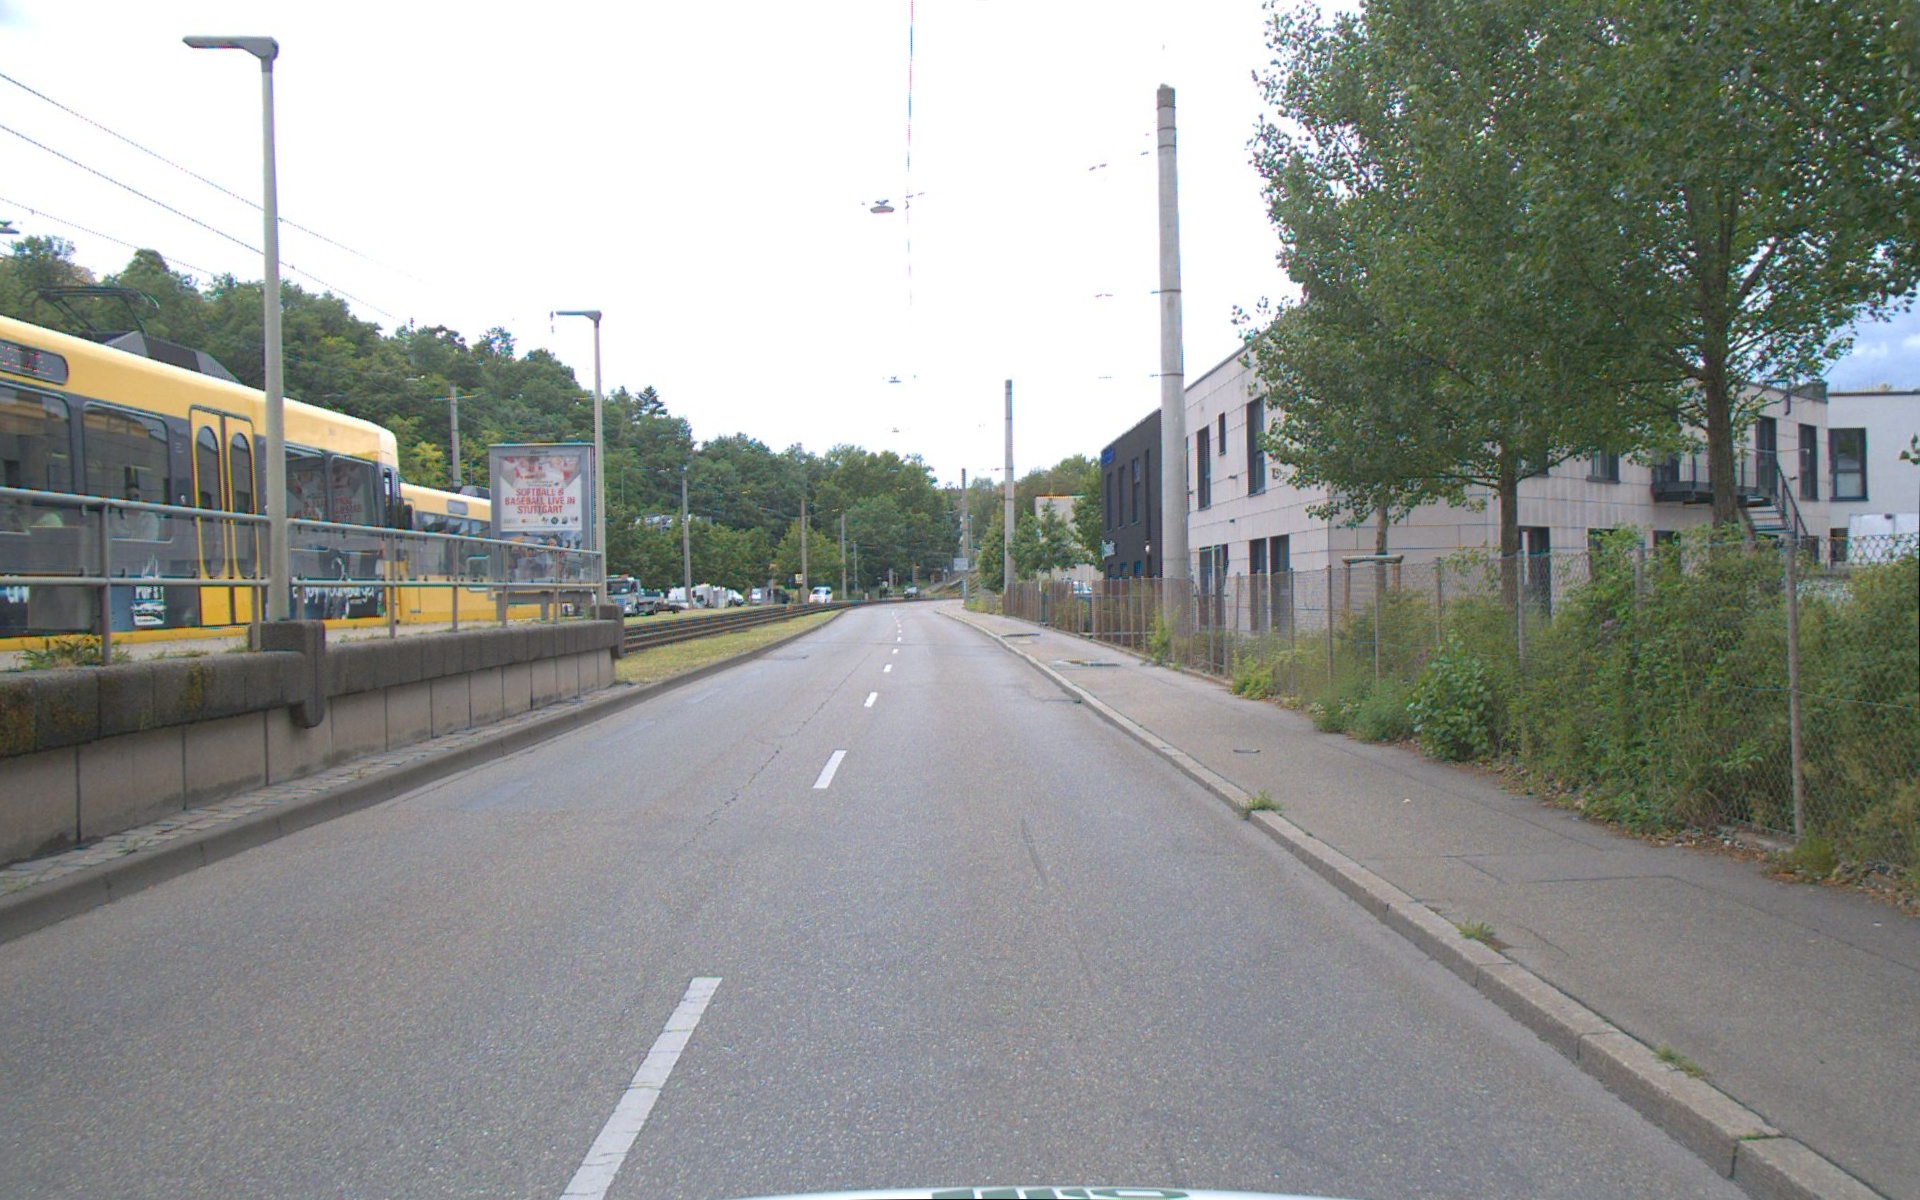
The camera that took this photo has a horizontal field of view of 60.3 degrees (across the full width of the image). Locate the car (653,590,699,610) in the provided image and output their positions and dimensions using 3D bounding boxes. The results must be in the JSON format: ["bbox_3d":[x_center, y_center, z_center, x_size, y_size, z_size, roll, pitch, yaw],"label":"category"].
[{"bbox_3d":[-26.610,0.009,155.120,3.903,1.736,1.834,-2,-3,4],"label":"car"}]

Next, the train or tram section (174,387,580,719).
[{"bbox_3d":[-8.544,-0.724,26.029,2.911,4.136,10.194,-1,1,-1],"label":"train or tram section"}]

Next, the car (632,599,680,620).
[{"bbox_3d":[-27.556,0.890,149.888,3.903,1.735,1.835,-2,2,4],"label":"car"}]

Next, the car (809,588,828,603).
[{"bbox_3d":[-16.256,-0.511,190.608,1.953,1.668,3.999,-1,1,-2],"label":"car"}]

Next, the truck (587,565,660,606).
[{"bbox_3d":[-22.426,-0.979,110.585,2.822,2.634,6.916,-1,1,6],"label":"truck"}]

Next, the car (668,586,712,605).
[{"bbox_3d":[-26.549,-0.432,162.693,3.903,1.736,1.834,-2,-3,4],"label":"car"}]

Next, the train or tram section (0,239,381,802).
[{"bbox_3d":[-8.278,-0.609,14.070,2.685,4.035,11.910,-1,1,-1],"label":"train or tram section"}]

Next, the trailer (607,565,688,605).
[{"bbox_3d":[-21.873,-1.093,116.266,2.831,2.628,10.002,-1,1,6],"label":"trailer"}]

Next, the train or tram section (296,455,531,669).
[{"bbox_3d":[-11.167,-0.726,34.804,1.953,3.862,9.177,-1,0,-1],"label":"train or tram section"}]

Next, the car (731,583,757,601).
[{"bbox_3d":[-24.452,-0.876,187.644,1.789,1.736,4.145,-2,-3,9],"label":"car"}]

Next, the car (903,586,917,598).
[{"bbox_3d":[-7.103,-1.095,233.826,1.953,1.668,3.999,-1,1,-2],"label":"car"}]
